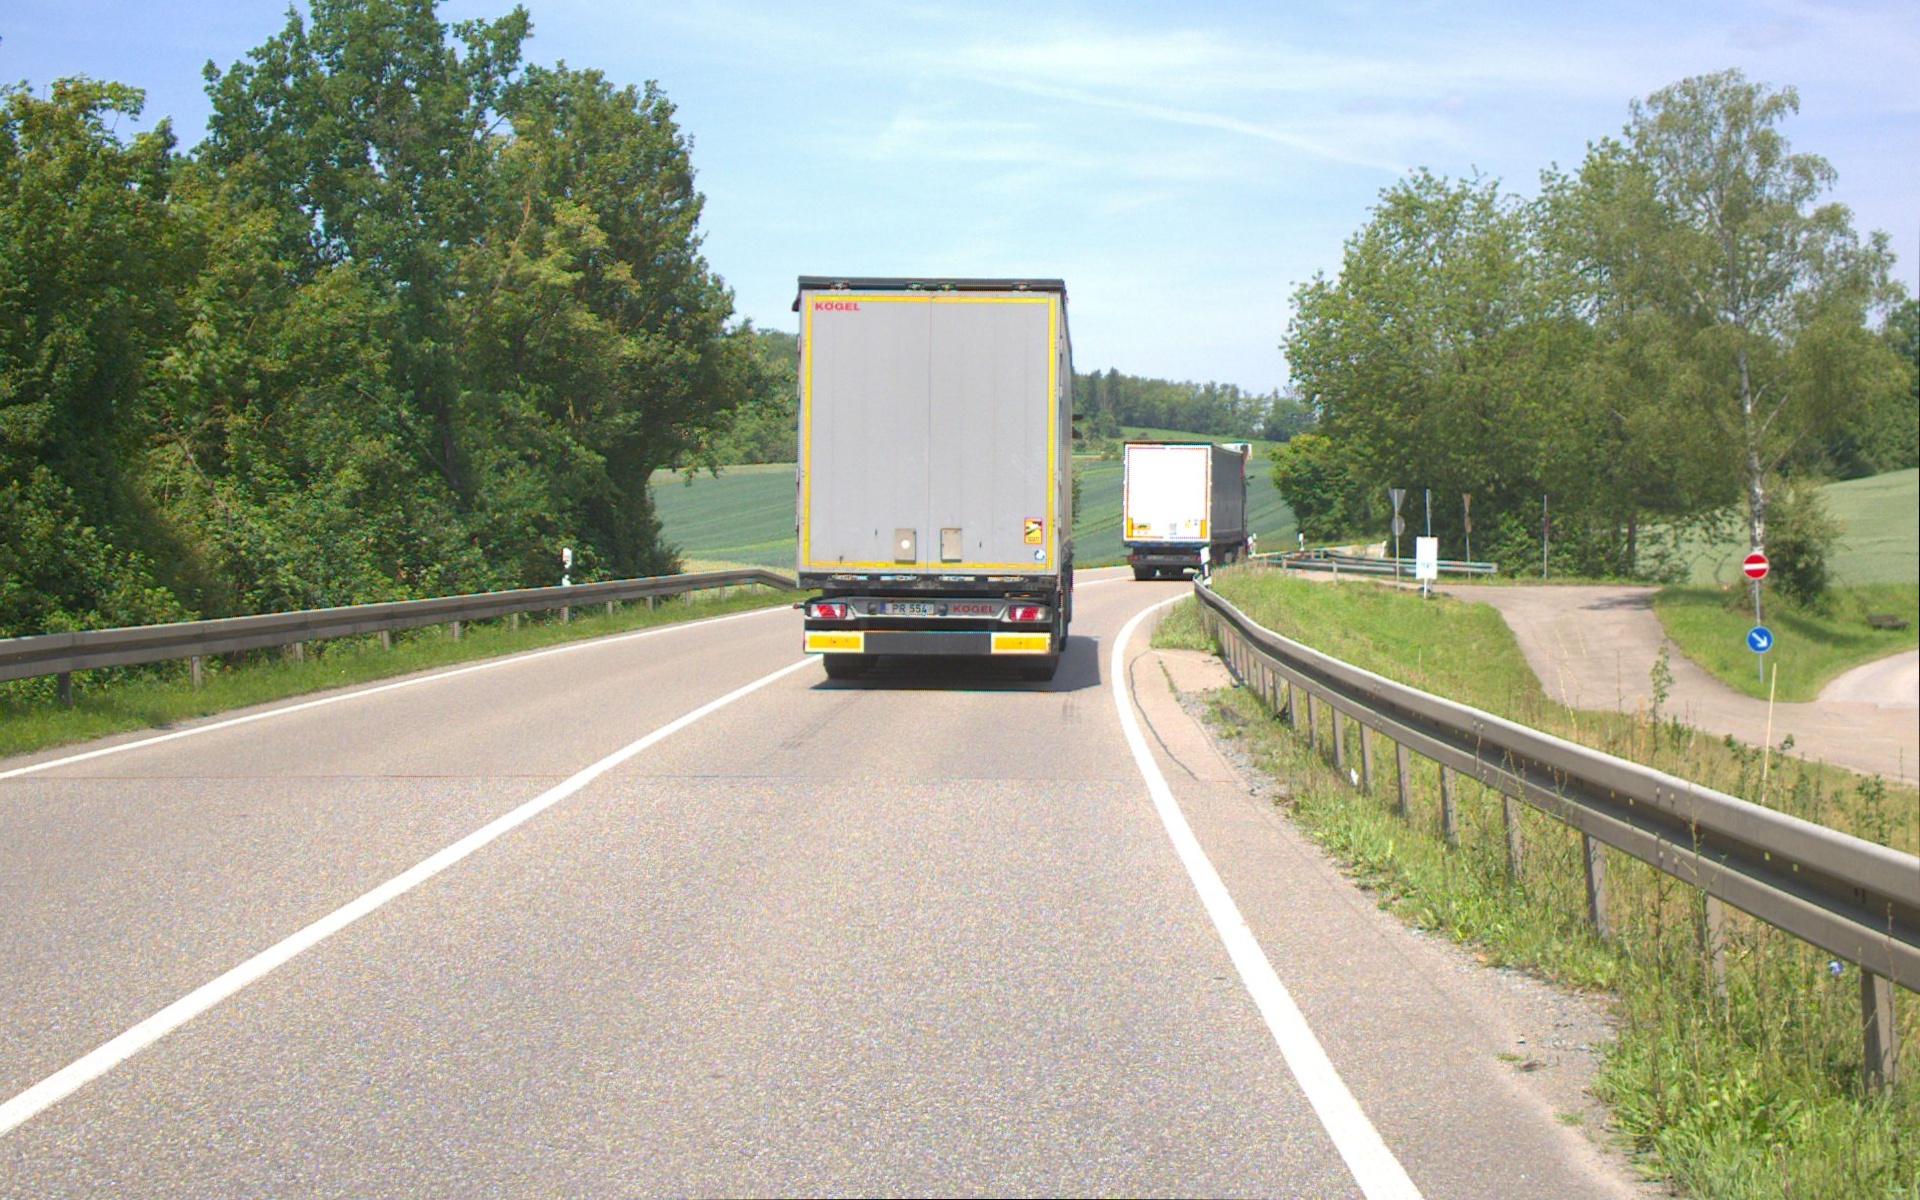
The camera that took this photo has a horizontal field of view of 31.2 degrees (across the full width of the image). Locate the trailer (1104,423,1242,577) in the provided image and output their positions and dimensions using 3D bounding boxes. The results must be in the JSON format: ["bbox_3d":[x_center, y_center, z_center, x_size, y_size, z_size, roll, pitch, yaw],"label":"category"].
[{"bbox_3d":[6.666,-2.912,105.318,3.366,4.302,13.860,0,0,7],"label":"trailer"}]

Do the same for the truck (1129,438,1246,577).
[{"bbox_3d":[7.420,-2.919,111.294,3.366,4.302,6.738,0,0,7],"label":"truck"}]

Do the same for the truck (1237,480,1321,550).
[{"bbox_3d":[16.686,-4.363,179.326,3.224,3.354,11.869,0,0,11],"label":"truck"}]

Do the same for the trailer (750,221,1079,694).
[{"bbox_3d":[-0.215,-1.483,39.544,3.118,4.484,13.886,0,1,2],"label":"trailer"}]

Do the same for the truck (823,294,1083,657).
[{"bbox_3d":[0.033,-1.604,45.955,3.118,4.479,6.811,0,1,3],"label":"truck"}]
